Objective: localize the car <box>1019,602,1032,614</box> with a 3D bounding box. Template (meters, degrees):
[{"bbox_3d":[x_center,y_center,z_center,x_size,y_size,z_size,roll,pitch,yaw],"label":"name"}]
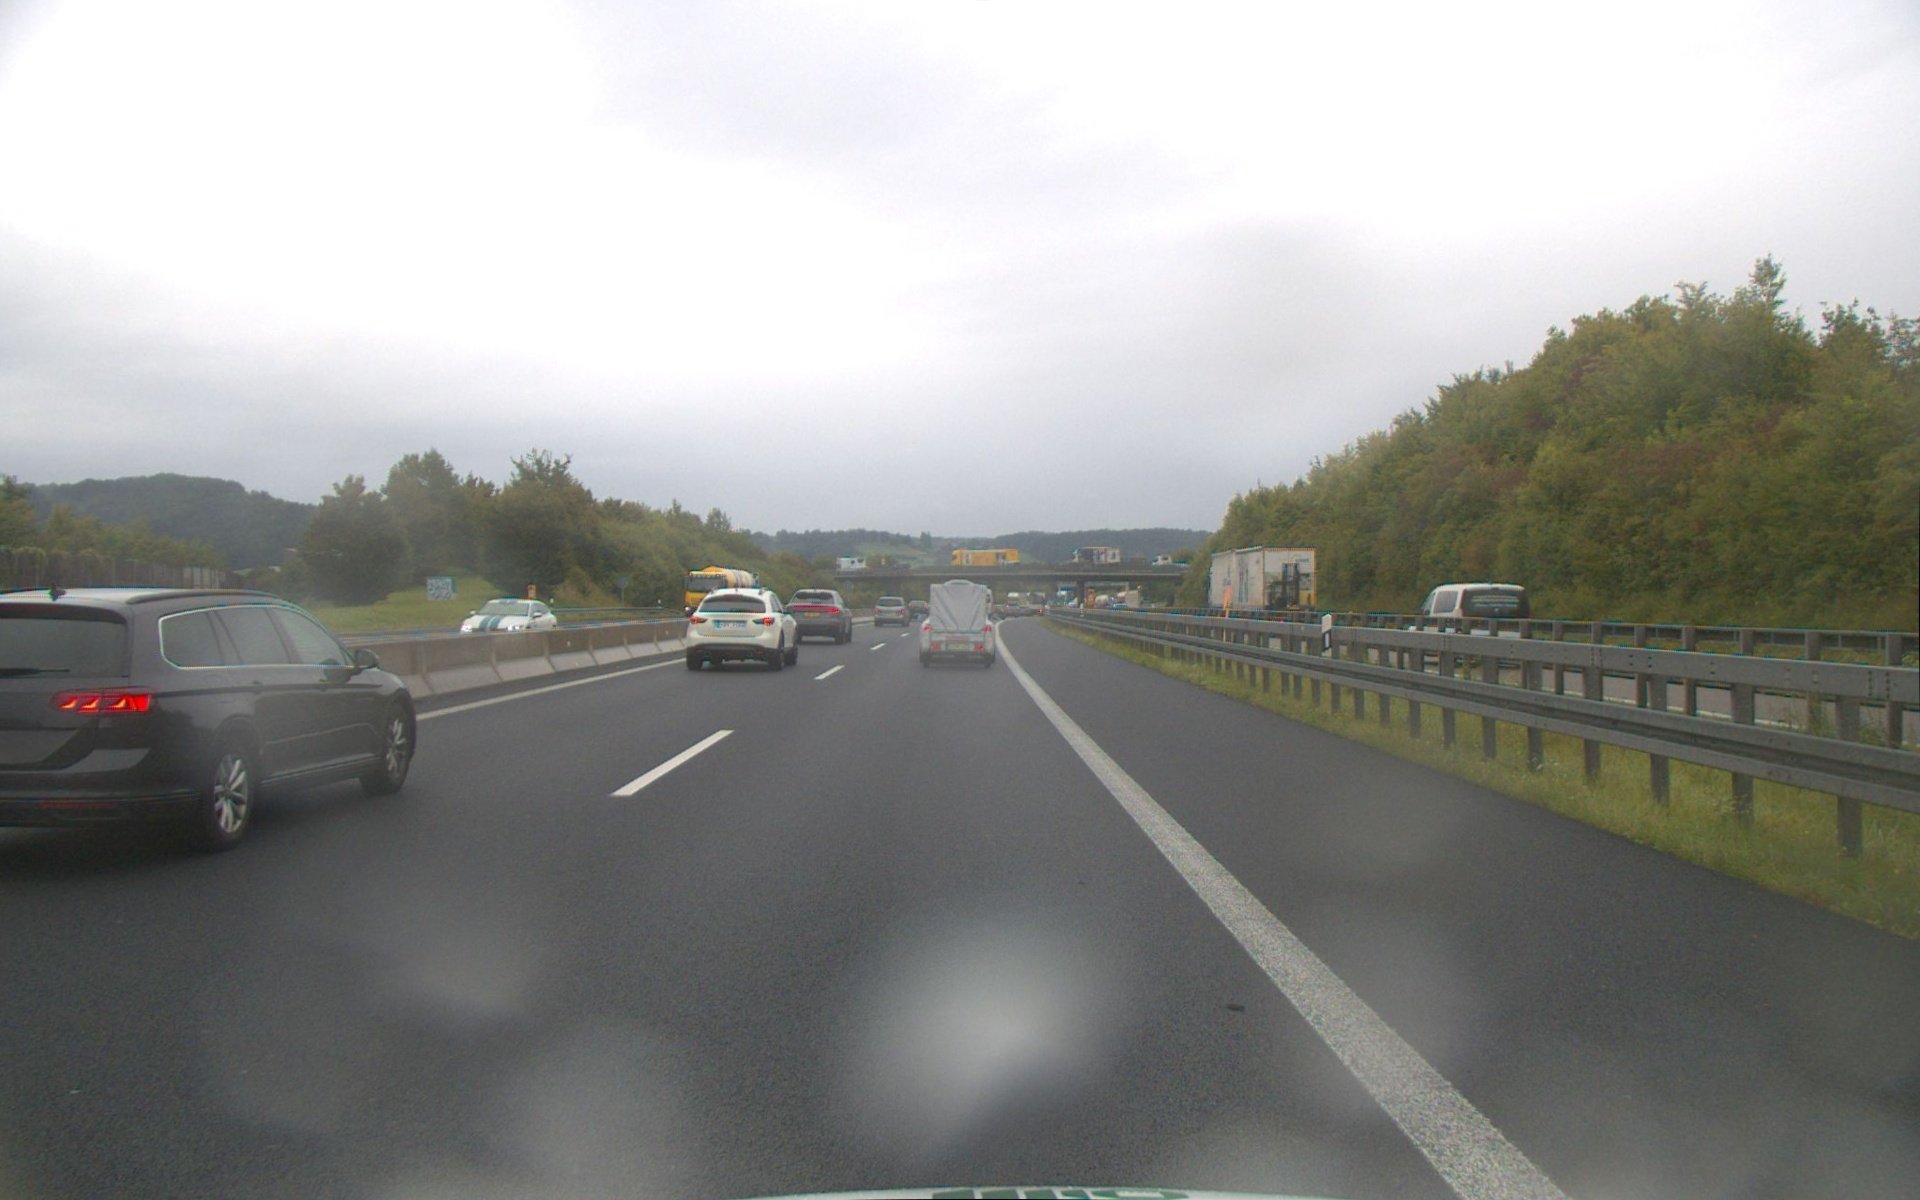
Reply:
[{"bbox_3d":[9.527,1.155,240.773,1.952,1.780,4.001,1,0,2],"label":"car"}]

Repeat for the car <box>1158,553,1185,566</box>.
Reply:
[{"bbox_3d":[31.648,-6.064,247.388,1.824,1.948,3.946,1,0,-38],"label":"car"}]

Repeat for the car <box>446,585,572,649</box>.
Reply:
[{"bbox_3d":[-12.935,0.453,47.785,2.134,1.725,4.866,0,0,2],"label":"car"}]

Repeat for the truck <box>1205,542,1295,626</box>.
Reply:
[{"bbox_3d":[15.894,-0.888,91.477,3.366,4.364,10.420,0,0,2],"label":"truck"}]

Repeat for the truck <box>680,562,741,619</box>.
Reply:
[{"bbox_3d":[-15.909,-0.589,105.809,2.704,3.458,5.847,1,0,2],"label":"truck"}]

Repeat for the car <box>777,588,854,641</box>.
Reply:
[{"bbox_3d":[-4.668,0.459,54.029,2.130,1.660,4.500,0,0,-1],"label":"car"}]

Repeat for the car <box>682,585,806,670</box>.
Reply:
[{"bbox_3d":[-4.452,0.538,34.700,1.935,1.668,4.501,0,0,1],"label":"car"}]

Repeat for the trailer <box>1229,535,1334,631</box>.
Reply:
[{"bbox_3d":[15.602,-0.800,81.029,3.366,4.364,10.456,0,0,2],"label":"trailer"}]

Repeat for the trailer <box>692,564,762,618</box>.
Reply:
[{"bbox_3d":[-15.703,-0.571,112.261,2.704,3.458,11.450,1,0,2],"label":"trailer"}]

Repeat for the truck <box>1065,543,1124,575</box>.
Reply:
[{"bbox_3d":[21.453,-6.497,263.884,3.738,4.920,9.911,1,0,-37],"label":"truck"}]

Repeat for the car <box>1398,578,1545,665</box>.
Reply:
[{"bbox_3d":[11.397,0.449,37.189,1.822,1.837,4.647,0,0,-1],"label":"car"}]

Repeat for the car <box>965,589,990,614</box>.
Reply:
[{"bbox_3d":[1.482,0.119,142.130,1.954,2.071,4.149,1,0,-3],"label":"car"}]

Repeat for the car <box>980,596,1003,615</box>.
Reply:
[{"bbox_3d":[3.053,0.548,161.128,1.954,1.780,3.998,1,0,-3],"label":"car"}]

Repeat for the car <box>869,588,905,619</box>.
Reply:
[{"bbox_3d":[-4.031,0.185,91.853,1.862,1.641,4.016,0,0,-1],"label":"car"}]

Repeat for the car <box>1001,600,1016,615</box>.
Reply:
[{"bbox_3d":[6.247,0.972,213.167,1.952,1.780,4.000,1,0,1],"label":"car"}]

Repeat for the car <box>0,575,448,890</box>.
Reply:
[{"bbox_3d":[-4.917,0.644,10.437,1.861,1.523,4.851,0,0,0],"label":"car"}]

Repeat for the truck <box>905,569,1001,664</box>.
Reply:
[{"bbox_3d":[-0.060,0.338,39.086,1.977,2.020,7.215,0,0,2],"label":"truck"}]

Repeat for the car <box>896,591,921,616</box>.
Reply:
[{"bbox_3d":[-3.824,0.249,123.388,1.804,1.851,3.999,0,0,-1],"label":"car"}]

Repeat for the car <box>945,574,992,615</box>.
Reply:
[{"bbox_3d":[0.590,-0.383,109.058,2.954,2.662,6.076,0,0,2],"label":"car"}]
